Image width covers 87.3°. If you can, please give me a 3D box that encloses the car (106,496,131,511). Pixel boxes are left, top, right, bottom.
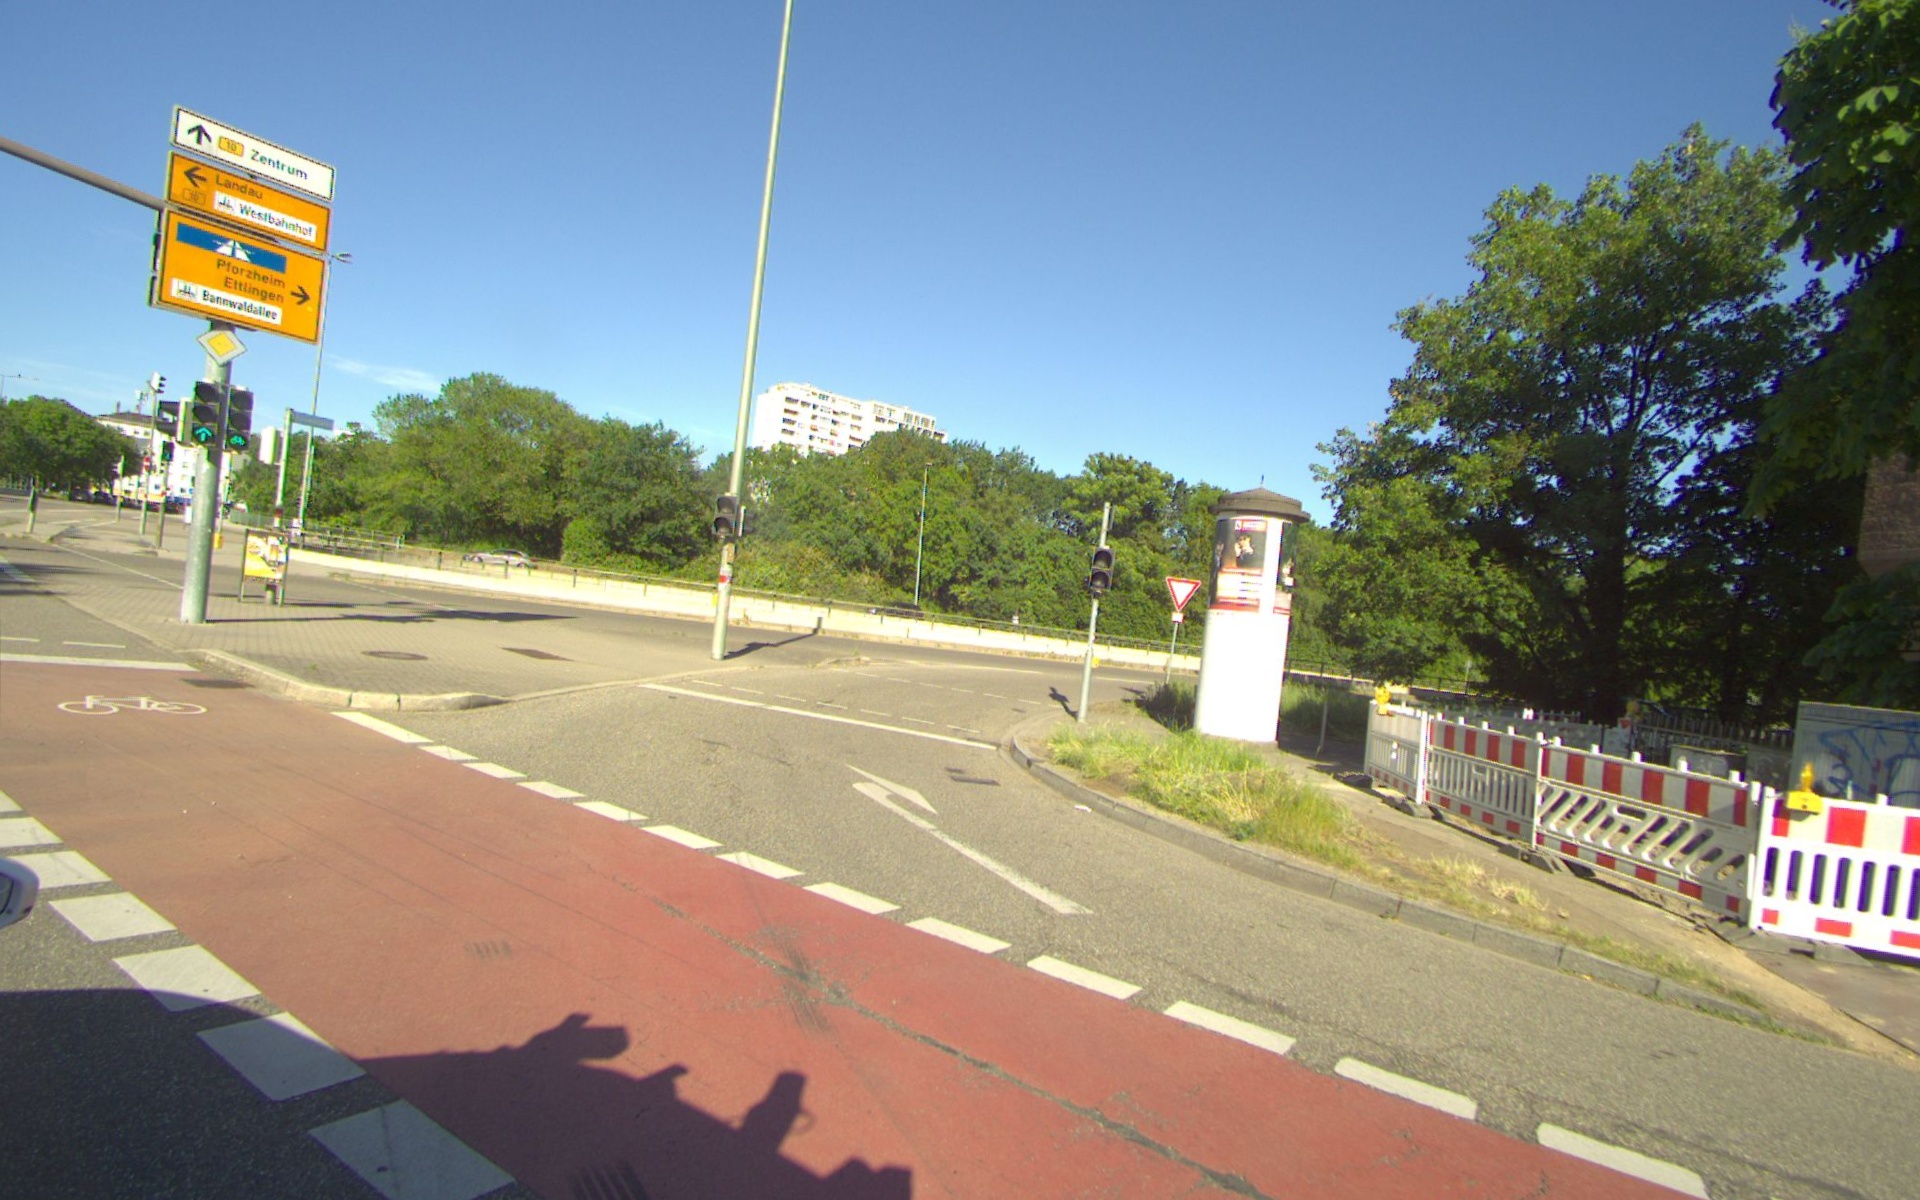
[{"bbox_3d":[-111.190,-12.744,132.992,1.933,1.547,4.060,7,0,-33],"label":"car"}]

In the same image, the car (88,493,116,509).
[{"bbox_3d":[-101.308,-11.659,118.832,1.933,1.547,4.060,7,0,-34],"label":"car"}]

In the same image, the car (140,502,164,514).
[{"bbox_3d":[-131.362,-14.959,163.602,1.927,1.547,4.072,7,0,-25],"label":"car"}]

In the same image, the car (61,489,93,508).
[{"bbox_3d":[-93.104,-10.708,106.164,1.933,1.547,4.059,7,0,-34],"label":"car"}]

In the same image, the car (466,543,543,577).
[{"bbox_3d":[-28.572,-2.498,63.214,4.189,1.571,1.851,7,0,-23],"label":"car"}]

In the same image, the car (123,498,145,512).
[{"bbox_3d":[-116.511,-13.351,141.933,1.933,1.547,4.060,7,0,-34],"label":"car"}]

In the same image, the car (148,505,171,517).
[{"bbox_3d":[-141.902,-15.800,178.395,1.924,1.547,4.079,7,0,-20],"label":"car"}]
